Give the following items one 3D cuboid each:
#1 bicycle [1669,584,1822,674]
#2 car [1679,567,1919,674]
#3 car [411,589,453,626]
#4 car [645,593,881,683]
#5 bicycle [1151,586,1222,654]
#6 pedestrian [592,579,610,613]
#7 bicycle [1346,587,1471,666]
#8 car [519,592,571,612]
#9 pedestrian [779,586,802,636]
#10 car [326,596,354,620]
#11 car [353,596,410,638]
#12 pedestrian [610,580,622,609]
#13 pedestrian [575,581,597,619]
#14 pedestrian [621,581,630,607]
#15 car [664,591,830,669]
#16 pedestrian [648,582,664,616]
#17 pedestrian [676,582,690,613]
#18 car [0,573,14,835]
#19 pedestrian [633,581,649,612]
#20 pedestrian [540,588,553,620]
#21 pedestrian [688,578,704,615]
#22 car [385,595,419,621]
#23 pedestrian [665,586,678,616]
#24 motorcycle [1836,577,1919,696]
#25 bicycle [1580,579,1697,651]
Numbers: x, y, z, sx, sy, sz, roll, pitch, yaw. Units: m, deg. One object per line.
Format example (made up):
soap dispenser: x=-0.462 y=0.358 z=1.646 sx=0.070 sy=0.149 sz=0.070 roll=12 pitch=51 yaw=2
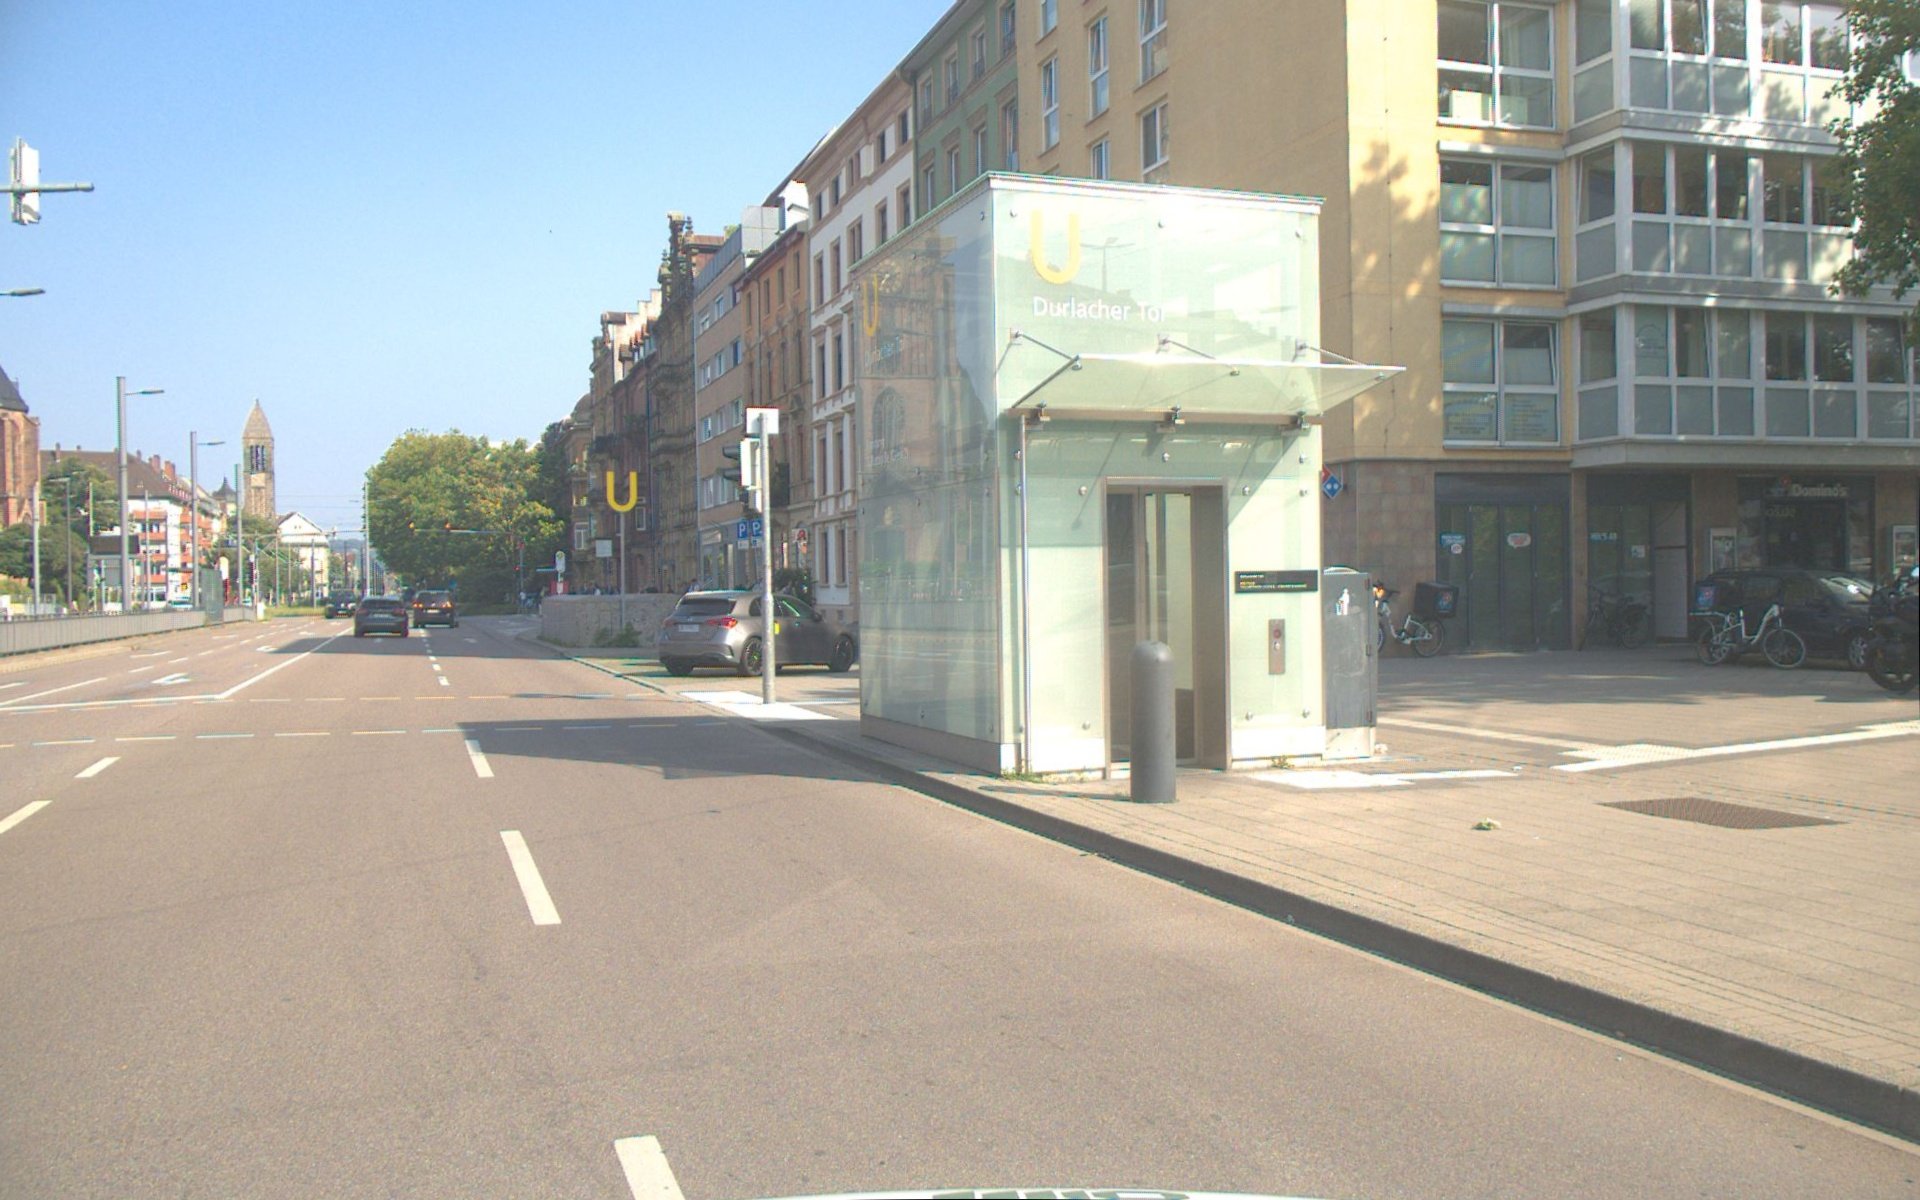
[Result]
bicycle: x=11.599 y=0.404 z=24.520 sx=0.515 sy=1.256 sz=2.285 roll=-1 pitch=1 yaw=-23
car: x=13.051 y=0.257 z=25.038 sx=1.631 sy=1.466 sz=4.173 roll=-1 pitch=1 yaw=-18
car: x=-24.546 y=0.321 z=76.833 sx=1.803 sy=1.649 sz=4.334 roll=0 pitch=0 yaw=-18
car: x=-3.388 y=0.619 z=29.326 sx=1.808 sy=1.448 sz=4.398 roll=-1 pitch=0 yaw=32
bicycle: x=4.417 y=0.381 z=32.407 sx=0.593 sy=1.283 sz=1.838 roll=-1 pitch=1 yaw=-19
pedestrian: x=-18.680 y=-0.226 z=86.048 sx=0.739 sy=1.759 sz=0.795 roll=-1 pitch=0 yaw=-22
bicycle: x=7.489 y=0.425 z=27.608 sx=1.986 sy=1.227 sz=0.667 roll=-2 pitch=1 yaw=-19
car: x=-36.145 y=0.155 z=144.076 sx=4.124 sy=1.590 sz=1.986 roll=-1 pitch=1 yaw=-24
pedestrian: x=-5.757 y=0.372 z=56.052 sx=0.599 sy=1.657 sz=0.733 roll=-1 pitch=0 yaw=-18
car: x=-42.145 y=0.525 z=112.457 sx=1.715 sy=1.553 sz=3.851 roll=-1 pitch=1 yaw=-20
car: x=-20.665 y=0.589 z=59.216 sx=1.835 sy=1.449 sz=4.334 roll=0 pitch=0 yaw=-18
pedestrian: x=-21.814 y=-0.357 z=104.753 sx=0.607 sy=1.835 sz=1.066 roll=-1 pitch=0 yaw=-18
pedestrian: x=-18.719 y=0.008 z=82.736 sx=0.912 sy=1.863 sz=0.795 roll=-1 pitch=0 yaw=-22
pedestrian: x=-21.216 y=-0.394 z=104.836 sx=0.478 sy=1.638 sz=0.808 roll=-1 pitch=0 yaw=-18
car: x=-4.287 y=0.573 z=33.756 sx=1.587 sy=1.489 sz=3.522 roll=-1 pitch=0 yaw=29
pedestrian: x=-16.532 y=-0.040 z=89.863 sx=0.709 sy=1.818 sz=0.852 roll=-1 pitch=0 yaw=-18
pedestrian: x=-15.356 y=-0.155 z=91.752 sx=0.595 sy=1.721 sz=0.583 roll=-1 pitch=0 yaw=-22
car: x=-6.648 y=0.694 z=8.335 sx=1.958 sy=1.649 sz=4.344 roll=-1 pitch=1 yaw=-12
pedestrian: x=-17.305 y=-0.205 z=89.710 sx=0.709 sy=1.638 sz=0.852 roll=-1 pitch=0 yaw=-18
pedestrian: x=-22.784 y=0.205 z=91.051 sx=0.557 sy=1.759 sz=0.740 roll=-1 pitch=0 yaw=-22
pedestrian: x=-13.574 y=-0.177 z=85.045 sx=0.595 sy=1.863 sz=0.737 roll=-1 pitch=0 yaw=-22
car: x=-32.878 y=0.460 z=97.552 sx=1.835 sy=1.449 sz=4.334 roll=0 pitch=0 yaw=-18
pedestrian: x=-16.399 y=0.077 z=94.165 sx=0.595 sy=1.683 sz=0.583 roll=-1 pitch=0 yaw=-22
motorcycle: x=9.825 y=0.357 z=16.644 sx=0.689 sy=1.167 sz=2.300 roll=-1 pitch=1 yaw=-3
bicycle: x=12.078 y=0.259 z=29.444 sx=1.986 sy=1.204 sz=0.667 roll=-2 pitch=1 yaw=-19
